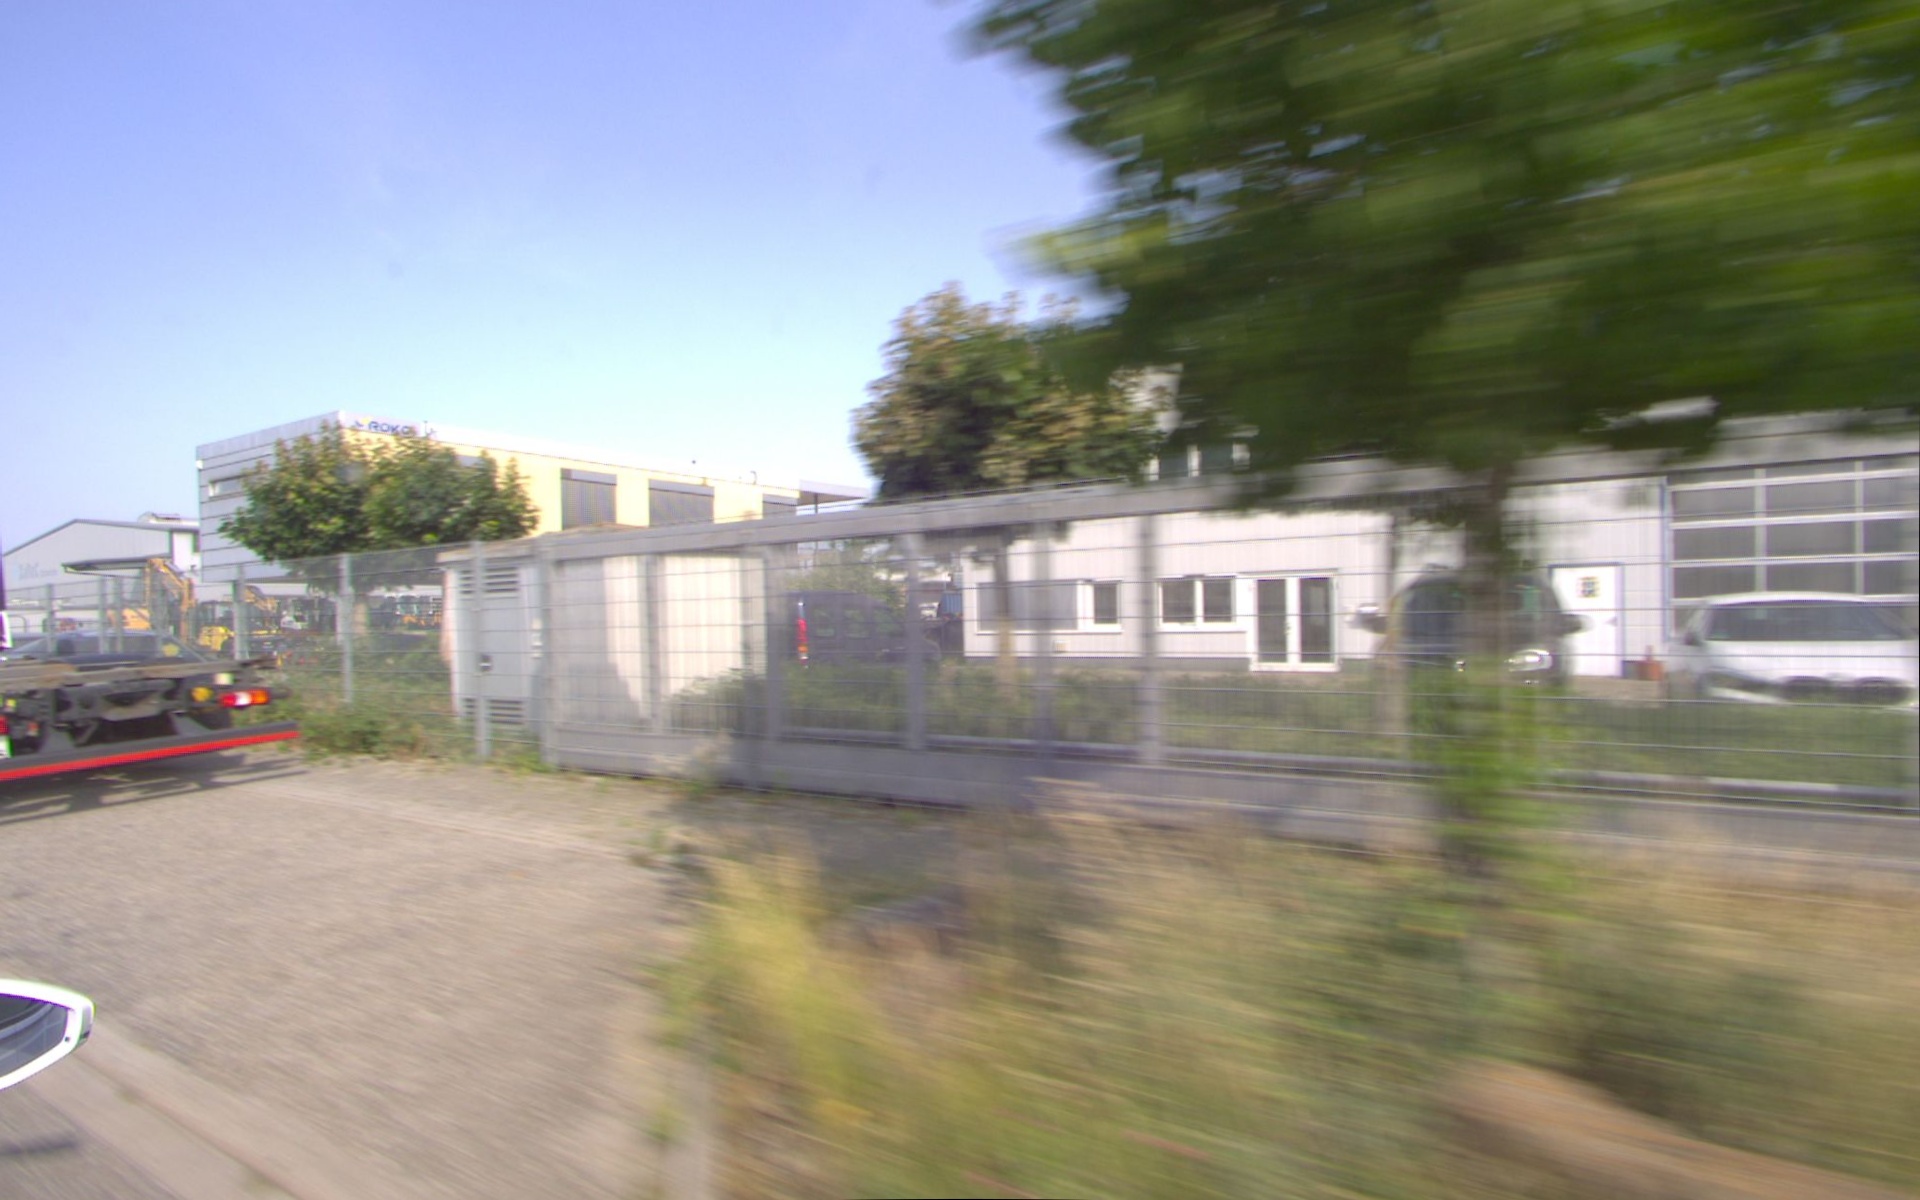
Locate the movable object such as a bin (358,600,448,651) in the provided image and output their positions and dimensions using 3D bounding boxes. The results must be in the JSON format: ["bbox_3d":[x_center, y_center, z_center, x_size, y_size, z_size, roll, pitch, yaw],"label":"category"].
[{"bbox_3d":[-32.233,1.450,57.908,5.607,2.806,2.050,-1,1,32],"label":"movable object such as a bin"}]

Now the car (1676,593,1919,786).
[{"bbox_3d":[8.027,0.708,9.656,1.731,1.480,3.993,-1,-1,37],"label":"car"}]

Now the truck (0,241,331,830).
[{"bbox_3d":[-10.294,-0.387,10.080,9.548,4.070,2.738,-1,2,33],"label":"truck"}]

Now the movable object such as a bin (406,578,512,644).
[{"bbox_3d":[-31.917,0.746,63.740,7.095,3.981,2.462,-2,0,30],"label":"movable object such as a bin"}]

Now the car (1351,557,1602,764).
[{"bbox_3d":[5.587,0.540,10.879,1.969,1.744,4.481,-1,-1,28],"label":"car"}]

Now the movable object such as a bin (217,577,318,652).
[{"bbox_3d":[-38.402,0.825,55.479,5.639,3.924,2.677,-1,0,34],"label":"movable object such as a bin"}]

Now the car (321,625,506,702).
[{"bbox_3d":[-11.651,1.295,21.287,3.946,1.450,1.880,-2,-1,34],"label":"car"}]

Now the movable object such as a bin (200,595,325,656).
[{"bbox_3d":[-34.006,1.211,48.773,6.257,2.752,2.695,-1,0,32],"label":"movable object such as a bin"}]

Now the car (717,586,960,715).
[{"bbox_3d":[-1.868,0.767,16.613,1.884,1.858,4.082,-1,-1,31],"label":"car"}]

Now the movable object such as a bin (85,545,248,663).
[{"bbox_3d":[-35.645,0.231,44.913,7.562,4.870,3.310,-1,0,32],"label":"movable object such as a bin"}]
